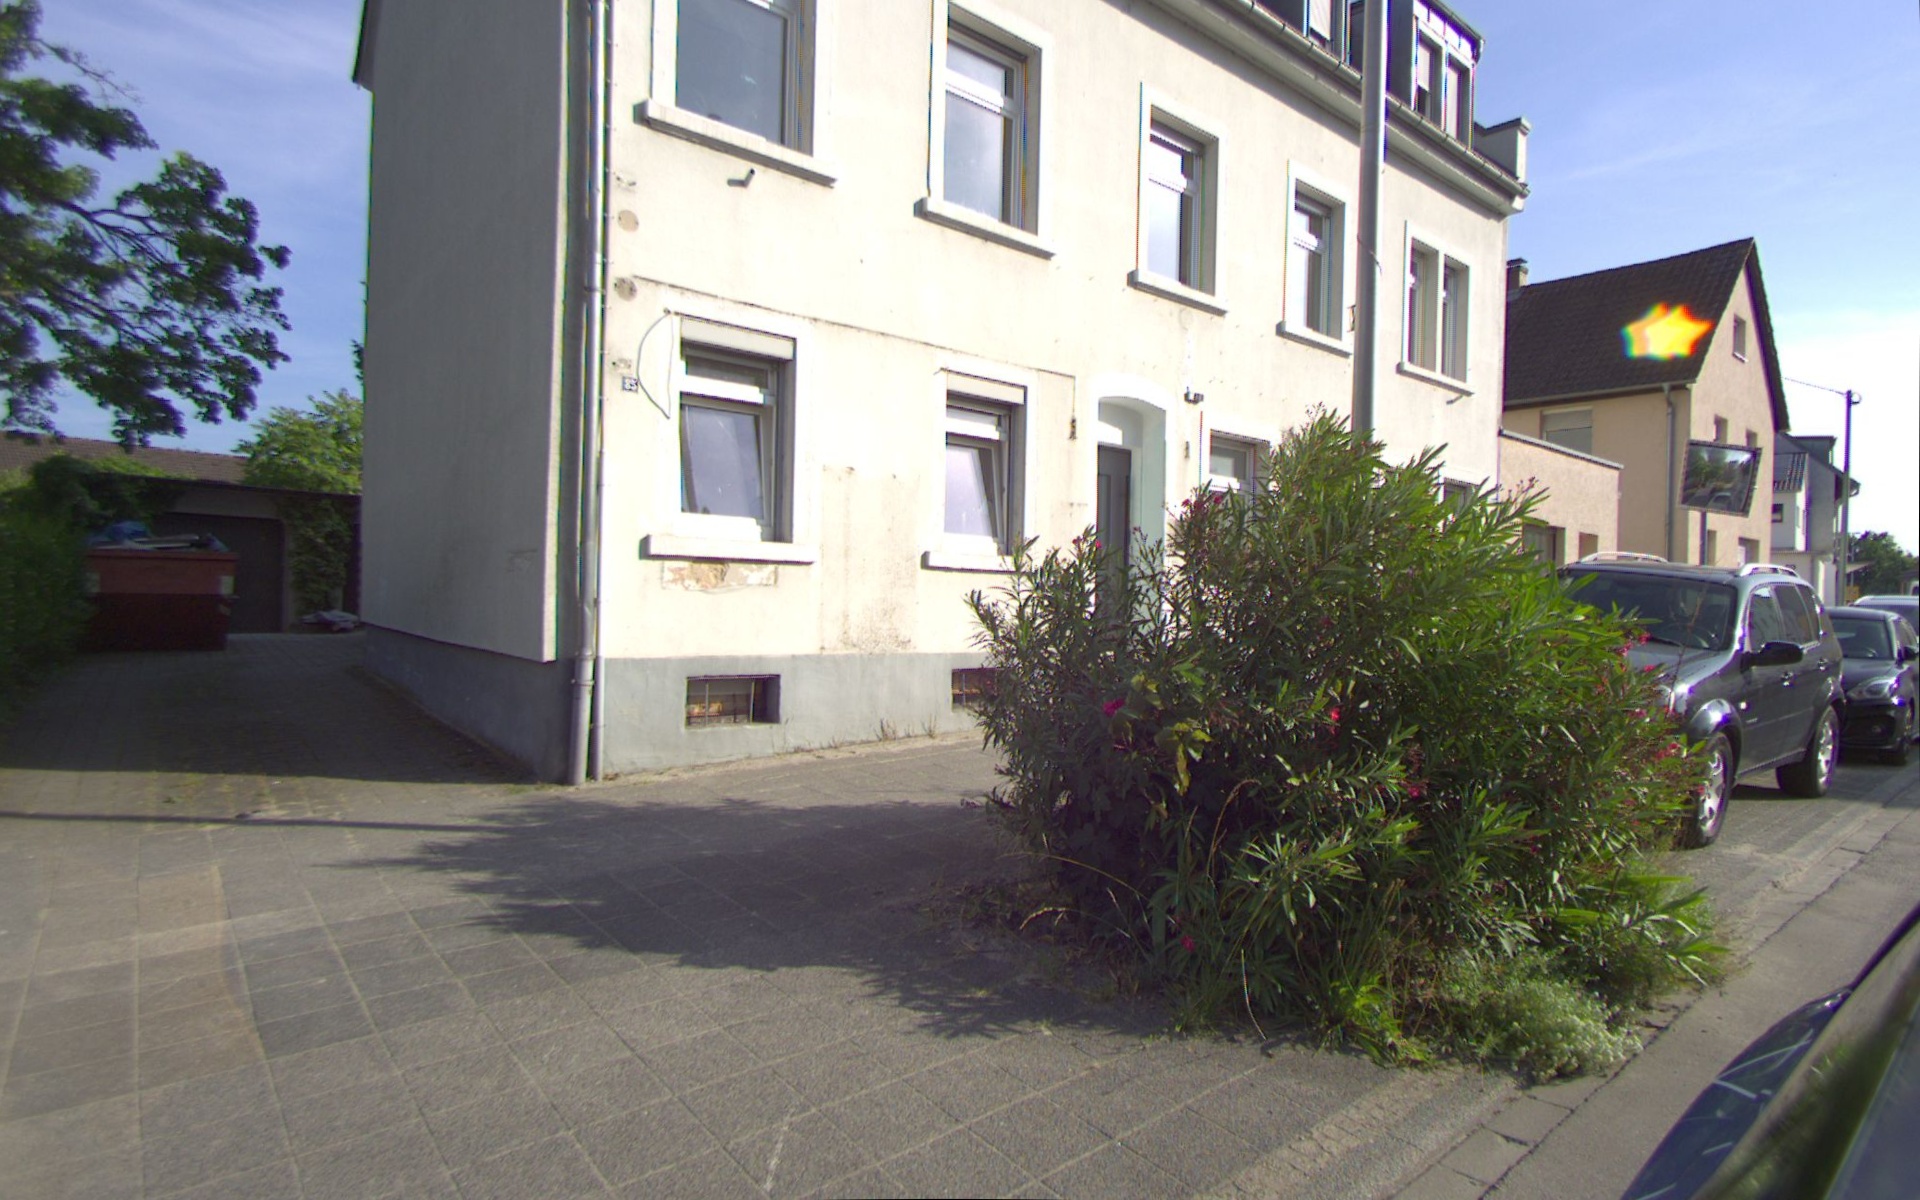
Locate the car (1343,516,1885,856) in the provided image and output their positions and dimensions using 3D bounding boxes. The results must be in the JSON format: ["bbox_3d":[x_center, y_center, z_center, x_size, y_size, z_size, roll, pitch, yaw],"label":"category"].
[{"bbox_3d":[5.193,0.470,7.806,4.525,1.879,2.082,1,1,-38],"label":"car"}]

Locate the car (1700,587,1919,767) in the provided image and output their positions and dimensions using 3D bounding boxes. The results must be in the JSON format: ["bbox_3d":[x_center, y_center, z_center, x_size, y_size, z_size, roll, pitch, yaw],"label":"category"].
[{"bbox_3d":[9.754,0.678,11.108,4.532,1.547,1.592,0,2,-41],"label":"car"}]

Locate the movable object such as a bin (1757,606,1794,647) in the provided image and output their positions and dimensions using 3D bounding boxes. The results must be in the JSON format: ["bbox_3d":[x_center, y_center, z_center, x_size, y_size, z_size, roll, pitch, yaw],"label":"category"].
[{"bbox_3d":[22.554,0.731,27.984,0.544,1.107,0.729,1,0,-42],"label":"movable object such as a bin"}]

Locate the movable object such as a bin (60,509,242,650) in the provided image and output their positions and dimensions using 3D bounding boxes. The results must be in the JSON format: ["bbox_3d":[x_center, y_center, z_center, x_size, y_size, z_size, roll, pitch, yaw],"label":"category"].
[{"bbox_3d":[-11.932,-0.312,15.026,1.940,1.861,2.568,1,1,-38],"label":"movable object such as a bin"}]

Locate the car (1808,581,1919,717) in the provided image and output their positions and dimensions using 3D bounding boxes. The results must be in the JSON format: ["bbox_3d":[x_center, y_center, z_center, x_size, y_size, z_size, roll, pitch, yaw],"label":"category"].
[{"bbox_3d":[13.762,0.633,14.443,4.397,1.704,1.816,0,2,-41],"label":"car"}]

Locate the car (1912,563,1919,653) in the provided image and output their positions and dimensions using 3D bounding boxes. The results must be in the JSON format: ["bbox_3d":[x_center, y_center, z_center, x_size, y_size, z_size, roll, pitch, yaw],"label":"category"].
[{"bbox_3d":[27.478,0.287,27.335,4.912,2.356,2.178,1,1,-43],"label":"car"}]
